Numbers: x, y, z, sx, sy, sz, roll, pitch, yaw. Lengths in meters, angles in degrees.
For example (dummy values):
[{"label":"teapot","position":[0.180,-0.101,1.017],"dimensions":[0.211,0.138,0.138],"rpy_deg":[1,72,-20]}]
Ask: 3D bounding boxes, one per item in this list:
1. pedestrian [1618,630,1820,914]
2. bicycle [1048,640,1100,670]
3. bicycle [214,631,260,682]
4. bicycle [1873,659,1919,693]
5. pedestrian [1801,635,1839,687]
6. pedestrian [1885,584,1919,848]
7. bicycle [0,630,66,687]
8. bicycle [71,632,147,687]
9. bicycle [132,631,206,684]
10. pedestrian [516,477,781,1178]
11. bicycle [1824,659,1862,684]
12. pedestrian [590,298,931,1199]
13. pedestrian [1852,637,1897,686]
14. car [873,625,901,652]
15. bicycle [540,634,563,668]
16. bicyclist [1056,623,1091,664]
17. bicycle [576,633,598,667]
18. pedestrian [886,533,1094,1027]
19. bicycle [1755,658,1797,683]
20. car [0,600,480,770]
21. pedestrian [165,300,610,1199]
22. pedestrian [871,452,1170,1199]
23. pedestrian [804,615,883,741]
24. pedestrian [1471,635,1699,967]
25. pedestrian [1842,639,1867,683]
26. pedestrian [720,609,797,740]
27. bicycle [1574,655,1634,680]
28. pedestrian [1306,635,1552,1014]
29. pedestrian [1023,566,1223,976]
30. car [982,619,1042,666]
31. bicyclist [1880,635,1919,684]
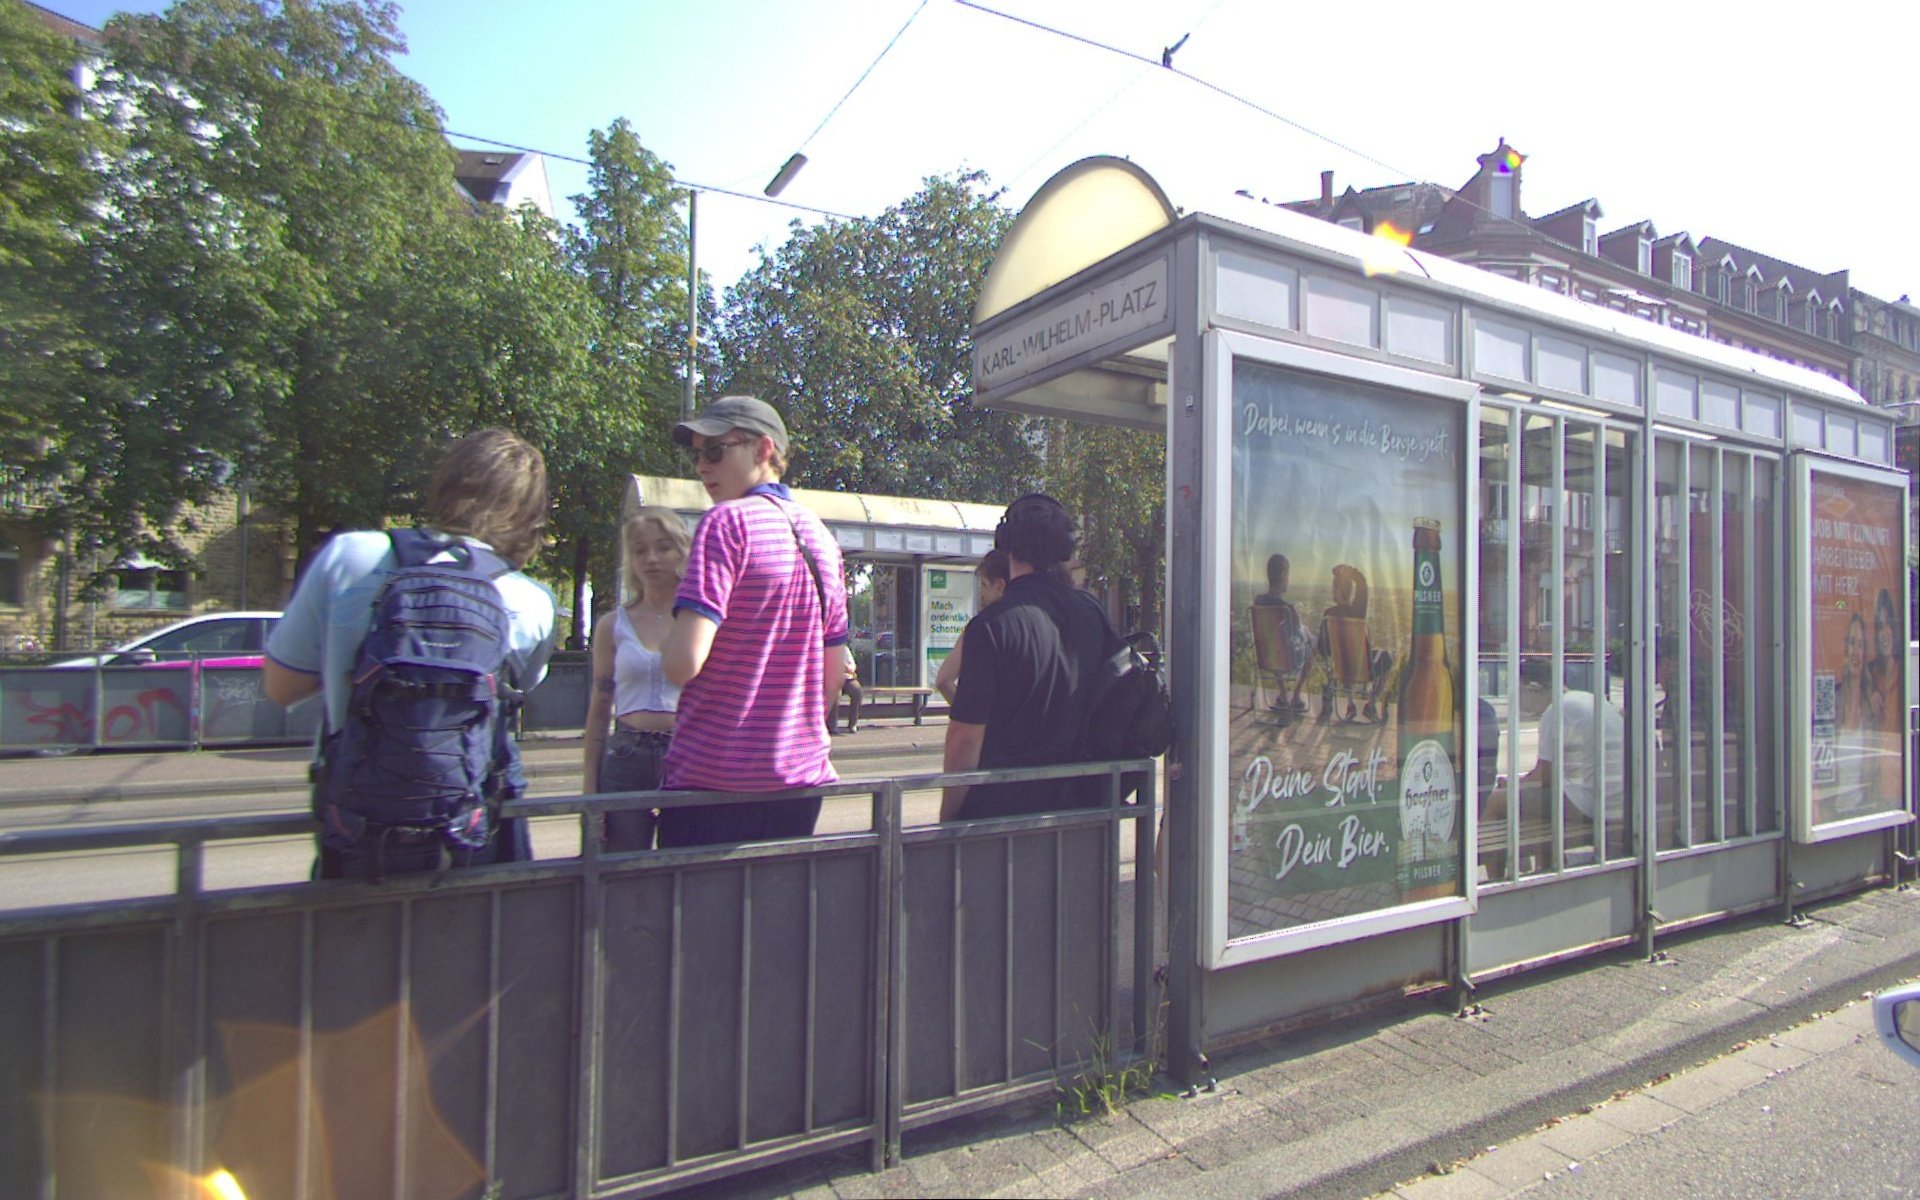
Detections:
[{"label":"pedestrian","position":[4.078,0.868,5.421],"dimensions":[0.615,1.396,0.683],"rpy_deg":[2,-2,-29]},{"label":"bicycle","position":[4.095,1.957,36.077],"dimensions":[1.760,1.028,0.655],"rpy_deg":[-1,-2,34]},{"label":"bicycle","position":[-20.851,1.599,28.944],"dimensions":[0.861,1.389,2.276],"rpy_deg":[2,-2,-41]},{"label":"bicycle","position":[31.937,2.565,34.147],"dimensions":[2.043,1.118,0.681],"rpy_deg":[2,-2,-28]},{"label":"pedestrian","position":[30.720,2.181,35.895],"dimensions":[1.080,1.830,0.724],"rpy_deg":[2,-2,-31]},{"label":"pedestrian","position":[7.048,0.815,7.073],"dimensions":[0.721,1.830,0.601],"rpy_deg":[2,-2,-30]},{"label":"bicycle","position":[-23.659,1.460,25.459],"dimensions":[2.264,1.389,0.865],"rpy_deg":[0,-2,33]},{"label":"bicycle","position":[-22.580,1.549,26.647],"dimensions":[2.264,1.389,0.865],"rpy_deg":[0,-2,33]},{"label":"bicycle","position":[-21.877,1.567,27.771],"dimensions":[2.264,1.389,0.865],"rpy_deg":[0,-2,33]},{"label":"pedestrian","position":[-0.939,0.586,2.979],"dimensions":[0.625,1.771,0.634],"rpy_deg":[2,-2,-27]},{"label":"bicycle","position":[34.540,2.785,39.273],"dimensions":[1.680,0.940,0.524],"rpy_deg":[2,-2,-27]},{"label":"pedestrian","position":[-0.496,0.353,2.397],"dimensions":[0.625,1.872,0.634],"rpy_deg":[2,-2,-27]},{"label":"pedestrian","position":[34.631,2.326,38.049],"dimensions":[1.170,1.789,0.902],"rpy_deg":[2,-2,-26]},{"label":"car","position":[-5.888,3.108,80.927],"dimensions":[2.041,2.043,4.588],"rpy_deg":[1,-2,-6]},{"label":"bicycle","position":[-14.025,1.734,34.501],"dimensions":[0.647,1.118,2.082],"rpy_deg":[2,-2,-21]},{"label":"bicyclist","position":[4.064,1.563,36.112],"dimensions":[1.062,1.460,0.655],"rpy_deg":[0,-2,34]},{"label":"bicycle","position":[-12.966,1.713,34.918],"dimensions":[0.647,1.118,2.082],"rpy_deg":[2,-2,-21]},{"label":"pedestrian","position":[0.108,0.648,3.963],"dimensions":[0.599,1.743,0.587],"rpy_deg":[2,-2,-27]},{"label":"bicycle","position":[30.382,2.619,37.407],"dimensions":[1.804,0.871,0.524],"rpy_deg":[2,-2,-27]},{"label":"car","position":[-8.099,0.918,11.719],"dimensions":[4.426,1.672,1.986],"rpy_deg":[2,-2,-28]},{"label":"pedestrian","position":[-1.082,0.479,1.988],"dimensions":[0.625,1.872,0.634],"rpy_deg":[2,-2,-27]},{"label":"pedestrian","position":[0.153,0.555,2.775],"dimensions":[0.599,1.787,0.587],"rpy_deg":[2,-2,-27]},{"label":"pedestrian","position":[-1.432,0.933,12.317],"dimensions":[0.709,1.475,0.789],"rpy_deg":[2,-2,-28]},{"label":"pedestrian","position":[2.914,0.868,4.714],"dimensions":[0.615,1.396,0.704],"rpy_deg":[2,-2,-29]},{"label":"pedestrian","position":[35.096,2.399,39.407],"dimensions":[0.629,1.700,0.631],"rpy_deg":[2,-2,-41]},{"label":"pedestrian","position":[-2.375,0.859,11.820],"dimensions":[0.709,1.475,0.674],"rpy_deg":[2,-2,-28]},{"label":"bicycle","position":[23.479,2.457,36.652],"dimensions":[1.791,0.871,0.528],"rpy_deg":[1,-1,9]},{"label":"pedestrian","position":[1.891,0.828,4.086],"dimensions":[0.615,1.357,0.683],"rpy_deg":[2,-2,-29]},{"label":"pedestrian","position":[0.679,0.666,4.247],"dimensions":[0.599,1.565,0.587],"rpy_deg":[2,-2,-27]},{"label":"car","position":[2.360,1.961,46.520],"dimensions":[2.041,2.043,4.588],"rpy_deg":[1,-2,-6]},{"label":"bicyclist","position":[31.923,2.015,34.135],"dimensions":[1.031,1.635,0.671],"rpy_deg":[2,-2,-27]}]
